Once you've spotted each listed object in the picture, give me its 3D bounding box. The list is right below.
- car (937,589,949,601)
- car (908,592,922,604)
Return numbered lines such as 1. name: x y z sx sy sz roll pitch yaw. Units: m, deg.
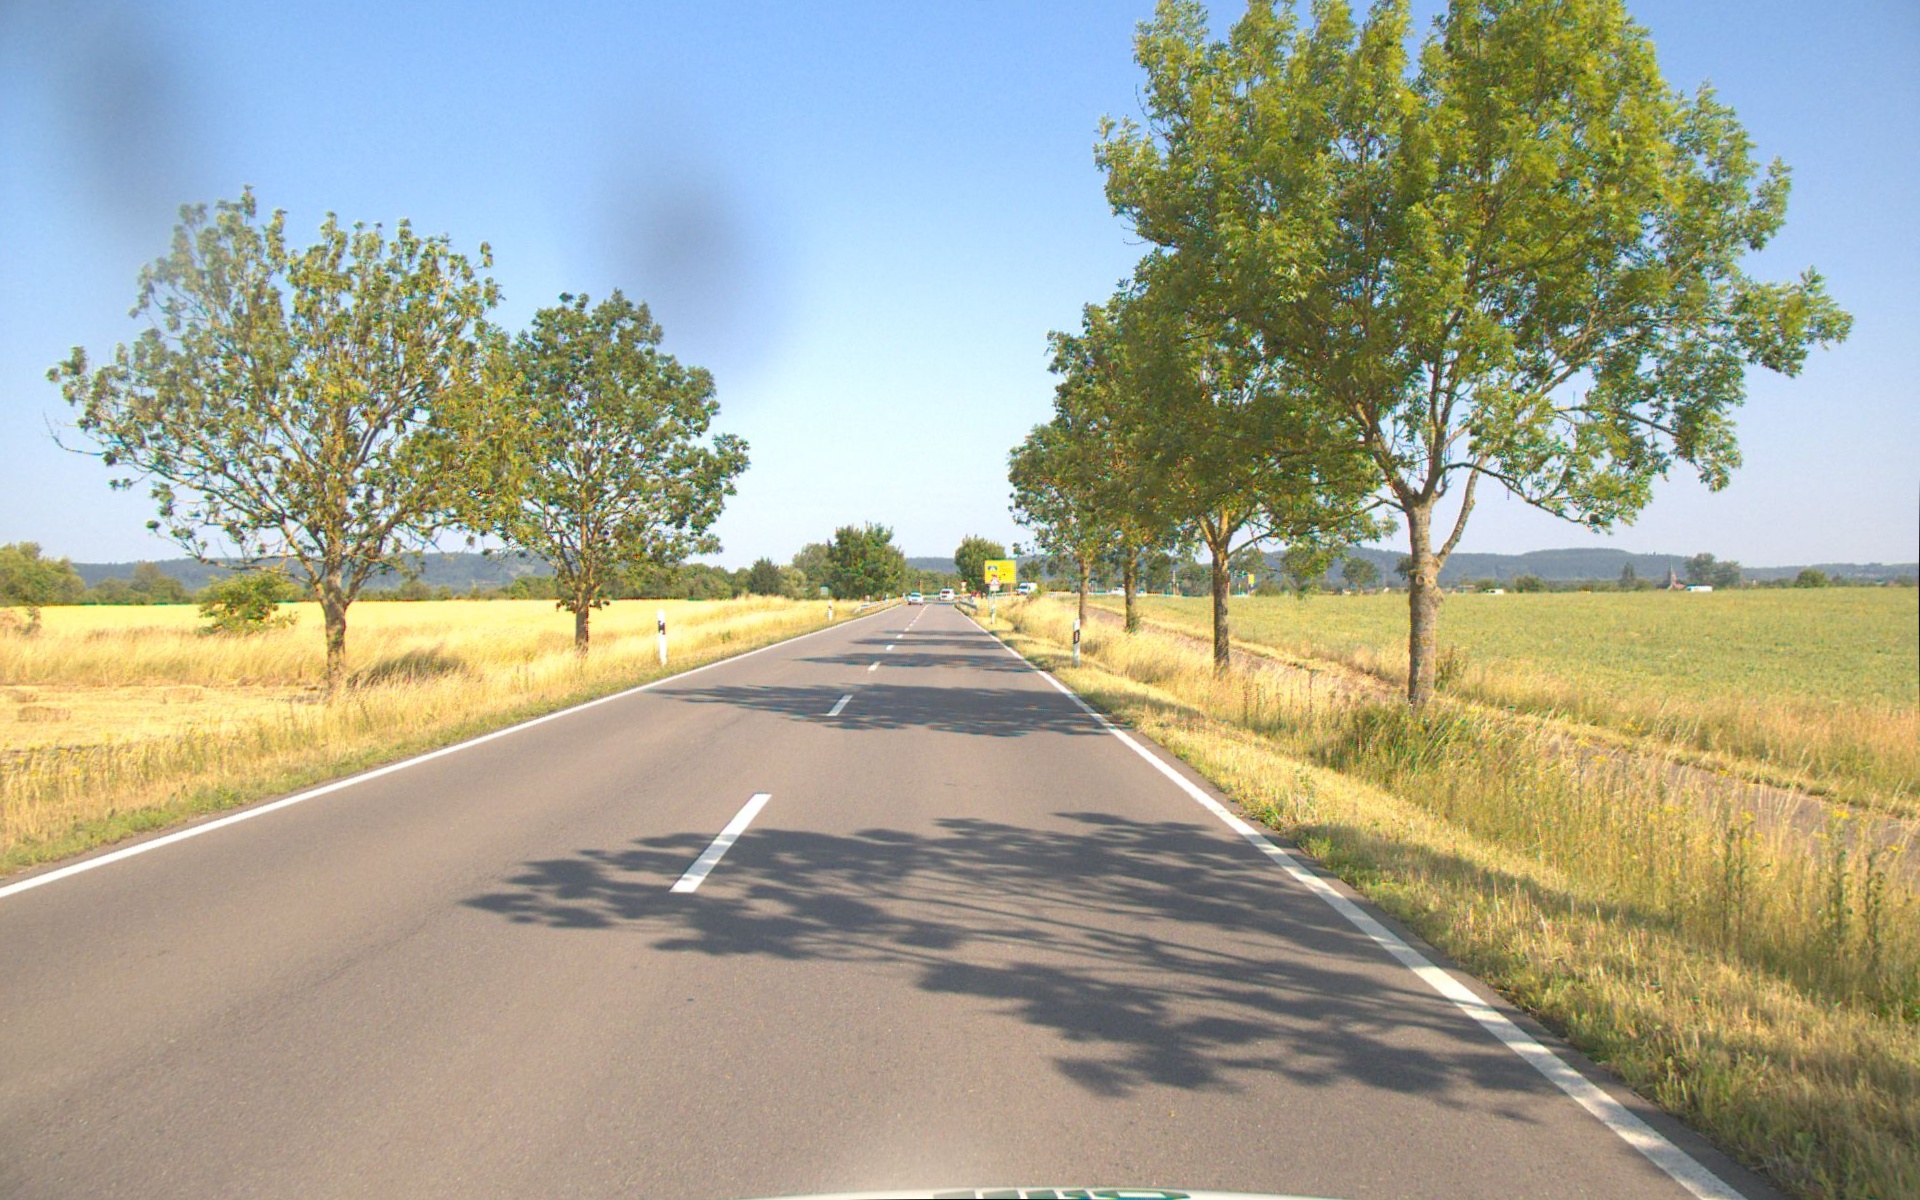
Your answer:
1. car: -2.664 -0.721 255.168 1.799 1.818 4.434 0 0 0
2. car: -5.615 -0.278 207.029 1.691 1.462 4.515 0 0 -1
